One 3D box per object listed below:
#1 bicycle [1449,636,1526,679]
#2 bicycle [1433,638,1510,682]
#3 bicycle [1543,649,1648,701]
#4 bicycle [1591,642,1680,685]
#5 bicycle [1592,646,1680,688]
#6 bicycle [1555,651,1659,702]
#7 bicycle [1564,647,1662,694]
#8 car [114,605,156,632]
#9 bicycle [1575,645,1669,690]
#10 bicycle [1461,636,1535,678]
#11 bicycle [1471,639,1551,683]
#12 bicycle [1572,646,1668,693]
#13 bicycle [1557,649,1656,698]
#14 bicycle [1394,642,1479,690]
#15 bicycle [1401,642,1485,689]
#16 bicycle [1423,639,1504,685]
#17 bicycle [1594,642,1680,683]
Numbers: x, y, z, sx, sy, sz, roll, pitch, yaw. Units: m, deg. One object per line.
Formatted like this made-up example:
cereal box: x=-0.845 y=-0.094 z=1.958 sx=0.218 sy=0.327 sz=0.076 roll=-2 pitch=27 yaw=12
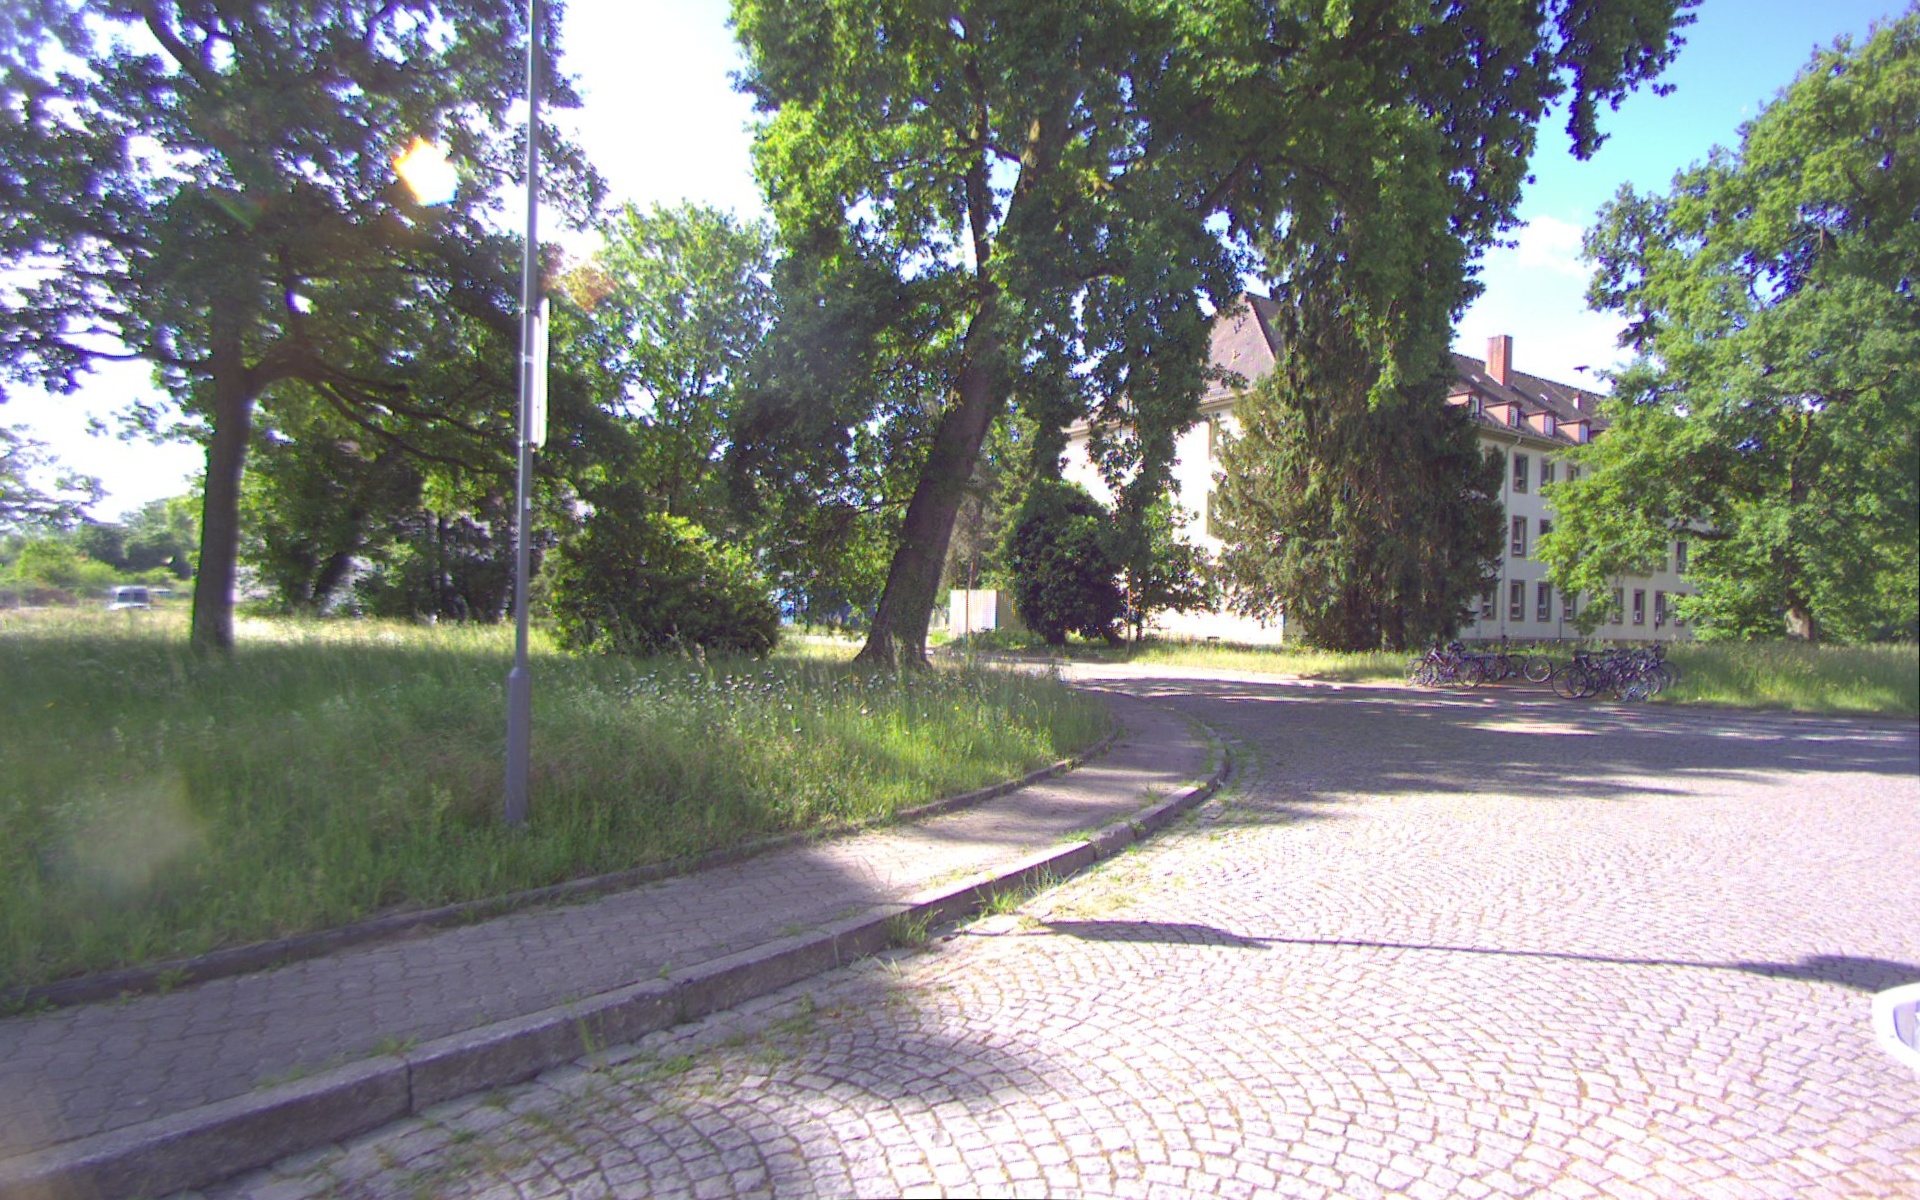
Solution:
bicycle: x=15.369 y=1.657 z=29.287 sx=1.889 sy=1.117 sz=0.568 roll=1 pitch=1 yaw=39
bicycle: x=14.273 y=1.651 z=28.052 sx=1.885 sy=1.118 sz=0.569 roll=1 pitch=1 yaw=30
bicycle: x=13.825 y=1.618 z=21.896 sx=1.884 sy=1.072 sz=0.475 roll=-1 pitch=-2 yaw=29
bicycle: x=17.565 y=1.635 z=26.139 sx=1.889 sy=1.072 sz=0.474 roll=-2 pitch=-2 yaw=37
bicycle: x=17.855 y=1.753 z=26.544 sx=1.889 sy=1.072 sz=0.474 roll=-2 pitch=-2 yaw=37
bicycle: x=14.276 y=1.672 z=22.209 sx=1.884 sy=1.072 sz=0.475 roll=-1 pitch=-2 yaw=29
bicycle: x=15.272 y=1.633 z=23.520 sx=1.888 sy=1.072 sz=0.474 roll=-2 pitch=-2 yaw=35
car: x=-60.076 y=1.365 z=73.152 sx=1.983 sy=1.879 sz=4.082 roll=2 pitch=-2 yaw=-45
bicycle: x=16.335 y=1.641 z=24.810 sx=1.889 sy=1.072 sz=0.474 roll=-2 pitch=-2 yaw=37
bicycle: x=16.038 y=1.687 z=29.978 sx=1.887 sy=1.118 sz=0.568 roll=1 pitch=1 yaw=34
bicycle: x=15.451 y=1.693 z=28.187 sx=1.889 sy=1.117 sz=0.568 roll=1 pitch=1 yaw=39
bicycle: x=15.827 y=1.645 z=24.106 sx=1.888 sy=1.072 sz=0.474 roll=-2 pitch=-2 yaw=35
bicycle: x=14.864 y=1.668 z=23.120 sx=1.888 sy=1.072 sz=0.474 roll=-2 pitch=-2 yaw=35
bicycle: x=11.980 y=1.640 z=25.268 sx=1.887 sy=1.117 sz=0.569 roll=0 pitch=0 yaw=34
bicycle: x=12.337 y=1.655 z=25.679 sx=1.887 sy=1.117 sz=0.569 roll=0 pitch=0 yaw=34
bicycle: x=13.478 y=1.656 z=26.896 sx=1.885 sy=1.118 sz=0.569 roll=1 pitch=1 yaw=30
bicycle: x=18.131 y=1.663 z=26.923 sx=1.889 sy=1.072 sz=0.474 roll=-2 pitch=-2 yaw=37
